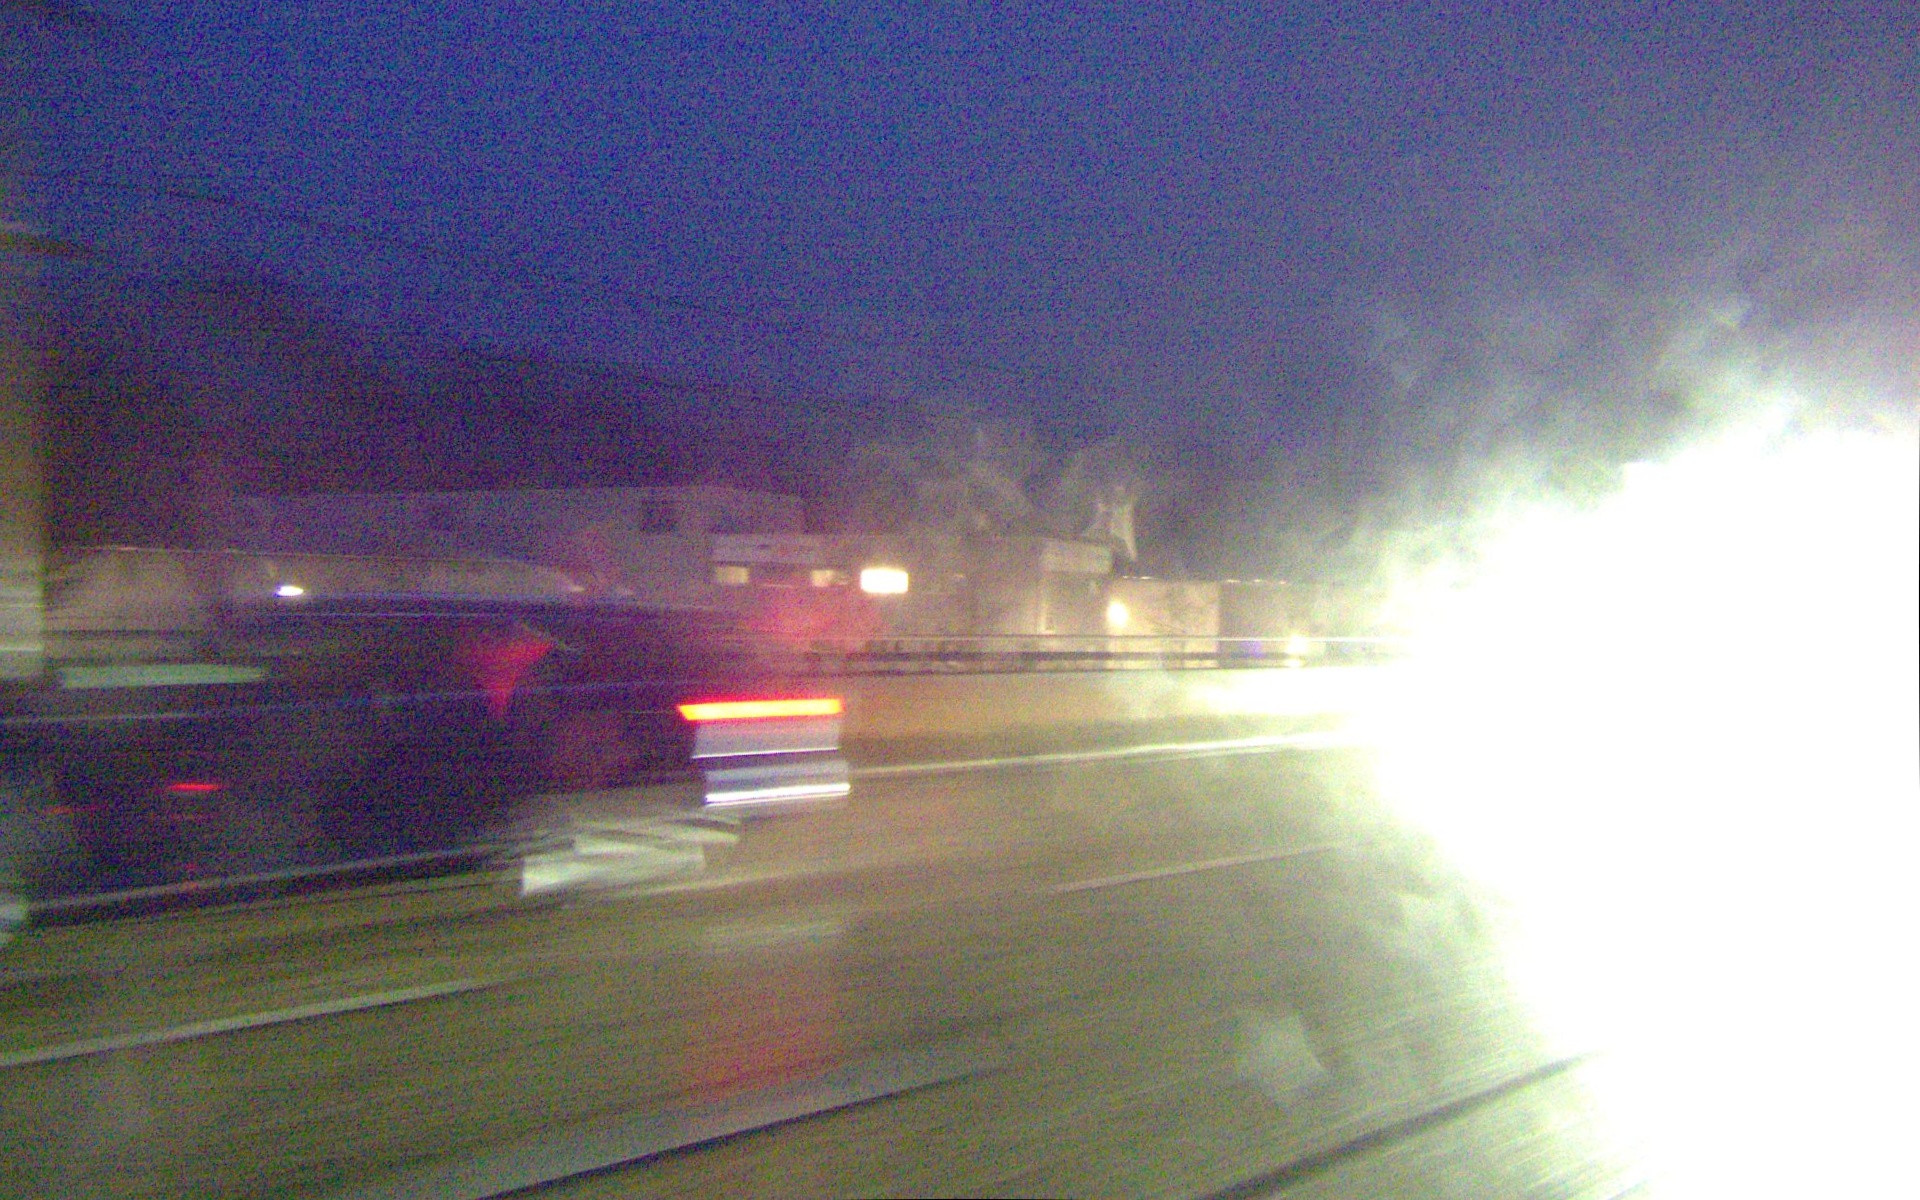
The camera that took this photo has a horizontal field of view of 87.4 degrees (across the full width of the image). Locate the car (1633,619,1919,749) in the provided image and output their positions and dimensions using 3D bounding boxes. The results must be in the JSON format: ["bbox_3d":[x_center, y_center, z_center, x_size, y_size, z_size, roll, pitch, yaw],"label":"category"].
[{"bbox_3d":[11.445,1.065,13.828,4.494,1.463,1.908,2,0,-32],"label":"car"}]

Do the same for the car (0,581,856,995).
[{"bbox_3d":[-3.198,0.691,4.972,4.936,1.468,2.066,2,0,-32],"label":"car"}]
